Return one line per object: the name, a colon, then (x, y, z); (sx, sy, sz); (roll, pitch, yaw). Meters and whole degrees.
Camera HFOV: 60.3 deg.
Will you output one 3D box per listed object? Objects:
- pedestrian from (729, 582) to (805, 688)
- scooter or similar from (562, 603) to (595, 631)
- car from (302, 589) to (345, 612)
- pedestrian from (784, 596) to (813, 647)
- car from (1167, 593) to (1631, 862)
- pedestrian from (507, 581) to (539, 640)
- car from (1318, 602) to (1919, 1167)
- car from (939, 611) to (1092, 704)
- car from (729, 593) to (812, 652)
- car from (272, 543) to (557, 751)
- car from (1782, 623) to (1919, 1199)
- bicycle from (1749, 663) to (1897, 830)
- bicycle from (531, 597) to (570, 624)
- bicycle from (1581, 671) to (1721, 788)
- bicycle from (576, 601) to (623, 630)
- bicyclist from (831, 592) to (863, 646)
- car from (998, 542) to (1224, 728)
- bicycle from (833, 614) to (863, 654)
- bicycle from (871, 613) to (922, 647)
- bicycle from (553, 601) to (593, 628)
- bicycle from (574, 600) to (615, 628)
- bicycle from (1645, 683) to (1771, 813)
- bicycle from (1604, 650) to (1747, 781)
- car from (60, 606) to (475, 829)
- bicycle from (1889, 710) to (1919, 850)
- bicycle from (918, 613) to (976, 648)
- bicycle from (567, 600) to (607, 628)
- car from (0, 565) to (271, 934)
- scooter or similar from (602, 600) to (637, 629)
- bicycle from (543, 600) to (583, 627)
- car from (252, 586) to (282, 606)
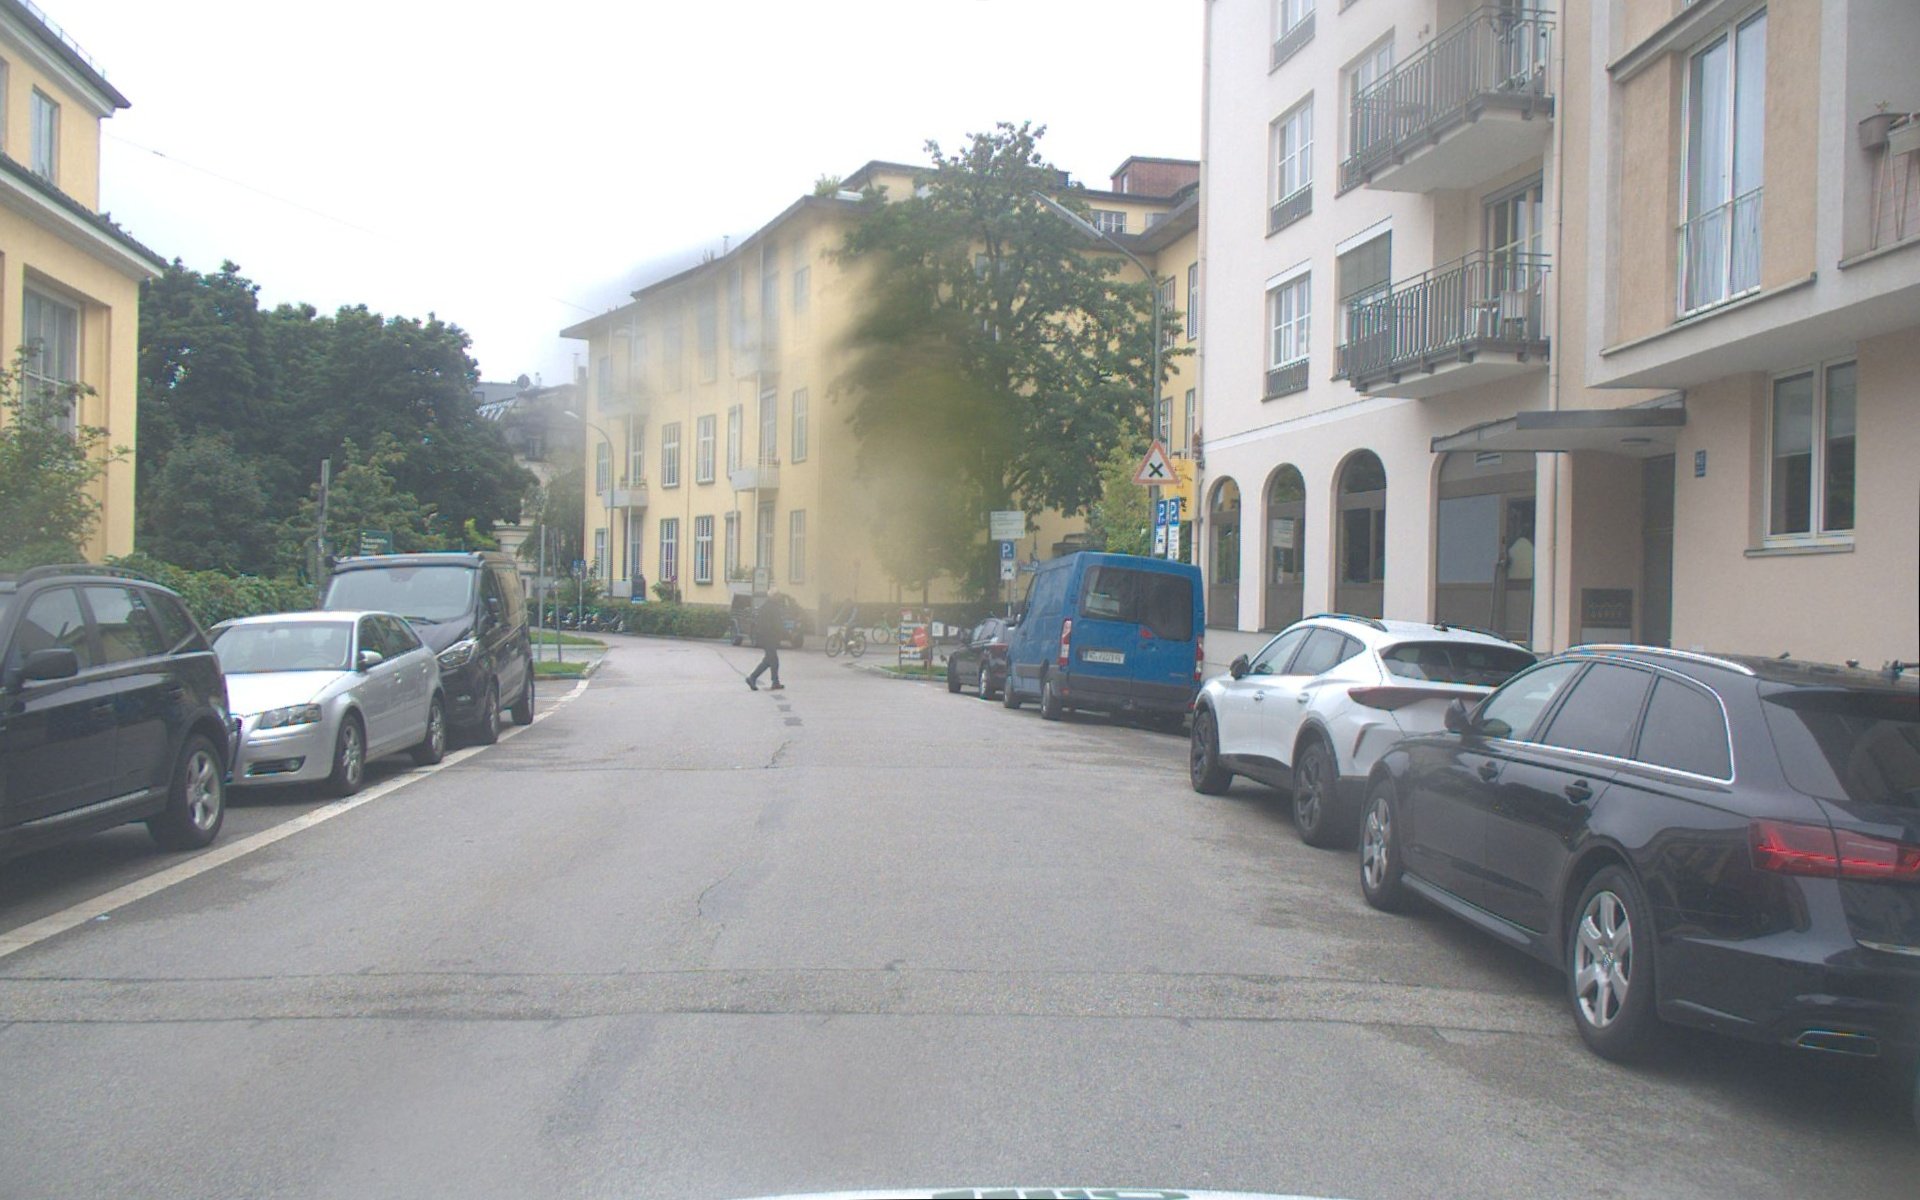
pedestrian: (-3.405, 0.623, 29.244); (0.918, 1.832, 0.951); (-2, -3, 41)
scooter or similar: (-18.598, 0.836, 80.667); (0.717, 1.328, 1.730); (1, 0, 22)
car: (-46.676, 0.019, 121.247); (1.979, 1.634, 3.948); (1, 0, -37)
pedestrian: (-5.940, 0.793, 60.794); (0.862, 1.855, 0.793); (1, 0, -22)
car: (3.046, 0.795, 12.619); (1.751, 1.560, 4.641); (4, 0, -7)
pedestrian: (-15.651, 0.374, 59.225); (0.913, 2.049, 0.955); (1, 0, -6)
car: (3.168, 0.864, 7.295); (1.842, 1.549, 5.162); (4, 0, -2)
car: (0.928, 1.002, 30.392); (1.648, 1.413, 4.290); (5, -1, -13)
car: (-6.984, 0.797, 60.552); (1.739, 1.907, 4.348); (5, -1, -23)
car: (-5.999, 0.467, 18.922); (2.033, 1.998, 5.341); (-1, 0, -7)
car: (3.232, 0.875, 2.263); (1.661, 1.515, 4.577); (3, 0, -4)
bicycle: (6.555, 1.084, 12.617); (0.370, 1.139, 1.391); (1, 0, -1)
bicycle: (-20.611, 0.534, 83.347); (0.717, 1.328, 2.154); (1, 0, 25)
bicycle: (6.388, 1.174, 15.374); (0.446, 0.939, 1.734); (1, 0, -4)
bicycle: (-16.906, 0.727, 77.588); (0.721, 1.328, 2.143); (1, 0, 42)
bicyclist: (-3.463, 0.590, 50.780); (0.847, 1.636, 0.944); (1, -1, -11)
car: (2.049, 0.485, 24.279); (2.040, 2.272, 5.235); (5, -1, -7)
bicycle: (-3.446, 1.022, 50.663); (0.658, 1.179, 1.998); (1, -1, -11)
bicycle: (-2.373, 1.106, 61.650); (1.889, 1.222, 0.593); (1, 0, 36)
bicycle: (-18.983, 0.708, 81.175); (0.717, 1.328, 2.154); (1, 0, 25)
bicycle: (-17.583, 0.682, 79.602); (0.717, 1.328, 2.154); (1, 0, 25)
bicycle: (6.079, 1.179, 13.495); (0.370, 0.921, 1.391); (1, 0, -1)
bicycle: (6.885, 1.082, 16.007); (0.446, 1.130, 1.852); (1, 0, -4)
car: (-5.472, 0.820, 13.749); (1.661, 1.417, 4.498); (-3, 0, -3)
bicycle: (6.642, 1.226, 10.768); (0.370, 0.921, 1.391); (1, 0, -1)
bicycle: (-0.487, 1.103, 60.524); (2.023, 1.222, 0.596); (1, 0, 12)
bicycle: (-18.126, 0.661, 80.368); (0.717, 1.328, 2.154); (1, 0, 25)
car: (-5.245, 0.702, 8.493); (1.663, 1.671, 4.488); (-2, 0, -3)
scooter or similar: (-15.823, 0.666, 76.866); (0.716, 1.328, 2.158); (1, 0, 13)
bicycle: (-19.627, 0.667, 81.759); (0.717, 1.328, 2.154); (1, 0, 25)
car: (-58.050, -0.299, 138.530); (1.970, 1.634, 3.964); (1, 0, -27)
